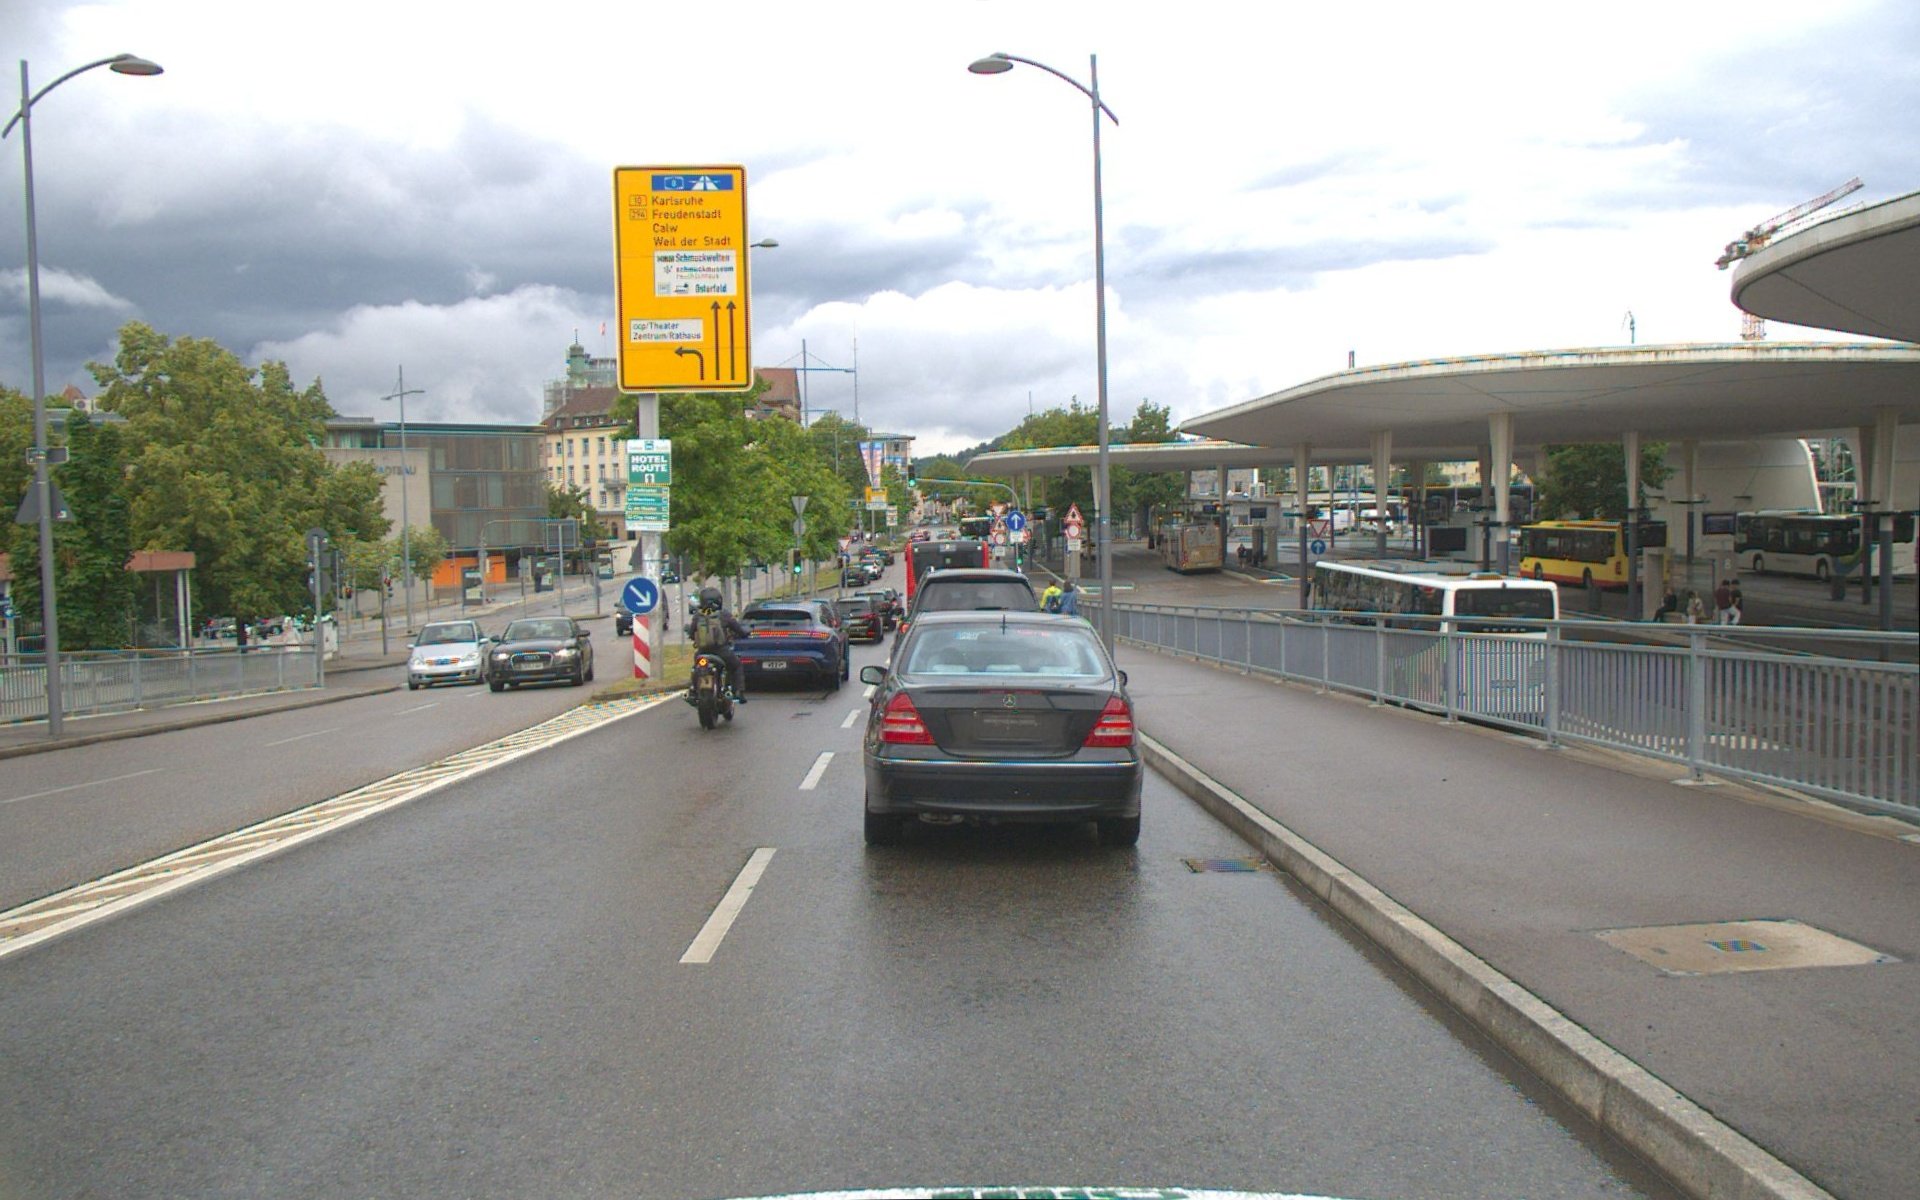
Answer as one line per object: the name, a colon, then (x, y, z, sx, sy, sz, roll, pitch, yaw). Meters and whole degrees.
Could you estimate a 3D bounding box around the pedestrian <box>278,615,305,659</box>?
pedestrian: (-22.506, 1.249, 55.681, 0.634, 1.433, 0.531, -2, 2, 2)

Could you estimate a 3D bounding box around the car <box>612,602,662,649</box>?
car: (-14.974, 1.175, 76.913, 1.956, 2.049, 4.195, -2, 0, -7)

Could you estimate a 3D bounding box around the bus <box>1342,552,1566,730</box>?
bus: (11.055, 0.747, 37.753, 2.594, 3.291, 7.069, -2, 4, -4)

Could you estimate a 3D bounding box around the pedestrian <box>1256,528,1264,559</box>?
pedestrian: (20.277, -3.803, 111.863, 0.415, 2.048, 0.483, -2, 1, 1)

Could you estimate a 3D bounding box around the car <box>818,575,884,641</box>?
car: (-3.464, 0.223, 53.311, 1.953, 2.041, 3.999, 0, 1, -1)

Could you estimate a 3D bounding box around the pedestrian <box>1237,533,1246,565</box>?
pedestrian: (18.007, -3.255, 105.805, 0.415, 2.048, 0.483, -2, 1, 1)

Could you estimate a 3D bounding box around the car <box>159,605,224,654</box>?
car: (-36.960, 1.397, 79.482, 1.979, 2.048, 3.948, 3, 1, -37)

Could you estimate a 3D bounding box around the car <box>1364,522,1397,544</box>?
car: (40.009, -6.383, 157.461, 1.953, 2.048, 4.000, -2, 2, -1)

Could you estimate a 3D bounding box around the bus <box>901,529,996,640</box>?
bus: (-0.402, -0.511, 53.474, 2.770, 3.245, 10.307, 0, 1, -1)

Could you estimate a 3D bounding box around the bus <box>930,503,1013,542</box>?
bus: (1.191, -8.680, 184.435, 3.235, 4.076, 10.744, -5, 5, -38)

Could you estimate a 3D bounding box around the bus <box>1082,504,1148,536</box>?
bus: (17.841, -9.148, 190.406, 7.057, 3.455, 3.080, -2, 2, -4)

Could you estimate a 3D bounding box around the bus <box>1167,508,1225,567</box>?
bus: (15.778, -4.108, 111.431, 3.111, 3.663, 10.516, -1, 1, 4)

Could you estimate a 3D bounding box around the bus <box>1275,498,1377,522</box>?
bus: (37.542, -9.222, 169.646, 9.967, 2.048, 2.168, -2, 1, -4)

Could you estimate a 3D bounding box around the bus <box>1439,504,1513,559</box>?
bus: (32.451, -4.324, 104.286, 2.546, 3.265, 6.996, -2, 2, 1)

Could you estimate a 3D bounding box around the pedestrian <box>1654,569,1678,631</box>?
pedestrian: (23.664, 0.005, 55.433, 0.532, 2.048, 0.579, -2, 1, 0)

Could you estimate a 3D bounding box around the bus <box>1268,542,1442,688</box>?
bus: (10.541, 0.252, 44.851, 2.594, 3.291, 7.069, -2, 4, -4)

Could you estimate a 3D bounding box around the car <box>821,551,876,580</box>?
car: (-8.406, -2.635, 125.151, 3.903, 2.048, 2.001, -2, 1, 3)

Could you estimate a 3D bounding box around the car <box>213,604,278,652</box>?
car: (-34.965, 1.343, 80.930, 1.979, 2.048, 3.948, 3, 1, -37)

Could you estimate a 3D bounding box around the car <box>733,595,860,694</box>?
car: (-2.635, 0.674, 27.403, 1.724, 1.461, 4.000, 0, 1, 0)

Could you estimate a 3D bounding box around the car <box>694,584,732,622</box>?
car: (-14.177, 0.189, 95.075, 1.956, 2.049, 4.195, -2, 0, -7)

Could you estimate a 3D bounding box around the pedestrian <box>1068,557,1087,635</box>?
pedestrian: (3.111, -0.109, 43.883, 0.415, 2.049, 0.483, -2, -1, 1)

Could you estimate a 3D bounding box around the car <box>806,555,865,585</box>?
car: (-8.857, -2.132, 117.564, 3.903, 2.048, 2.001, -2, 1, 3)

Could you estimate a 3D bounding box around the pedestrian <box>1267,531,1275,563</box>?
pedestrian: (20.392, -3.488, 108.390, 0.415, 2.049, 0.483, -2, -1, 1)

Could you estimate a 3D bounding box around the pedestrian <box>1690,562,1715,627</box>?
pedestrian: (23.697, -0.165, 52.811, 0.549, 2.048, 0.483, -2, 1, 1)

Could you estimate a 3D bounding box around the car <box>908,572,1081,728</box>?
car: (0.520, 0.520, 20.281, 1.788, 1.716, 4.003, 0, 1, 6)

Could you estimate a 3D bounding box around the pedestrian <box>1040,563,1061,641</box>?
pedestrian: (2.403, 0.063, 43.893, 0.479, 2.049, 0.470, -2, -1, 1)

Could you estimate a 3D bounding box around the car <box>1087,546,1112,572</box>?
car: (11.534, -3.421, 136.957, 1.951, 2.048, 4.003, -1, 1, 5)

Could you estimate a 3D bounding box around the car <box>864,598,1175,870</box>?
car: (0.364, 0.721, 10.817, 1.670, 1.444, 3.726, 1, 0, 1)

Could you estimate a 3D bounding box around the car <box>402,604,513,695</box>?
car: (-12.380, 1.161, 40.946, 1.956, 2.049, 3.993, -2, 0, -8)

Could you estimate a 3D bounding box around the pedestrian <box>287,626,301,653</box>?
pedestrian: (-22.423, 1.340, 55.704, 0.294, 0.888, 0.298, -2, 2, 2)

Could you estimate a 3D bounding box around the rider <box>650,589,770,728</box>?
rider: (-2.872, 0.638, 19.244, 0.862, 1.497, 2.197, 1, 1, 5)

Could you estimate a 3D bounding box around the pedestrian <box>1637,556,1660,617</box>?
pedestrian: (23.690, -0.468, 56.917, 0.532, 2.048, 0.579, -2, 1, 0)

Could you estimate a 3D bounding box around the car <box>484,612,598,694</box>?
car: (-8.732, 1.094, 34.800, 1.799, 1.553, 4.585, -2, -1, -8)
